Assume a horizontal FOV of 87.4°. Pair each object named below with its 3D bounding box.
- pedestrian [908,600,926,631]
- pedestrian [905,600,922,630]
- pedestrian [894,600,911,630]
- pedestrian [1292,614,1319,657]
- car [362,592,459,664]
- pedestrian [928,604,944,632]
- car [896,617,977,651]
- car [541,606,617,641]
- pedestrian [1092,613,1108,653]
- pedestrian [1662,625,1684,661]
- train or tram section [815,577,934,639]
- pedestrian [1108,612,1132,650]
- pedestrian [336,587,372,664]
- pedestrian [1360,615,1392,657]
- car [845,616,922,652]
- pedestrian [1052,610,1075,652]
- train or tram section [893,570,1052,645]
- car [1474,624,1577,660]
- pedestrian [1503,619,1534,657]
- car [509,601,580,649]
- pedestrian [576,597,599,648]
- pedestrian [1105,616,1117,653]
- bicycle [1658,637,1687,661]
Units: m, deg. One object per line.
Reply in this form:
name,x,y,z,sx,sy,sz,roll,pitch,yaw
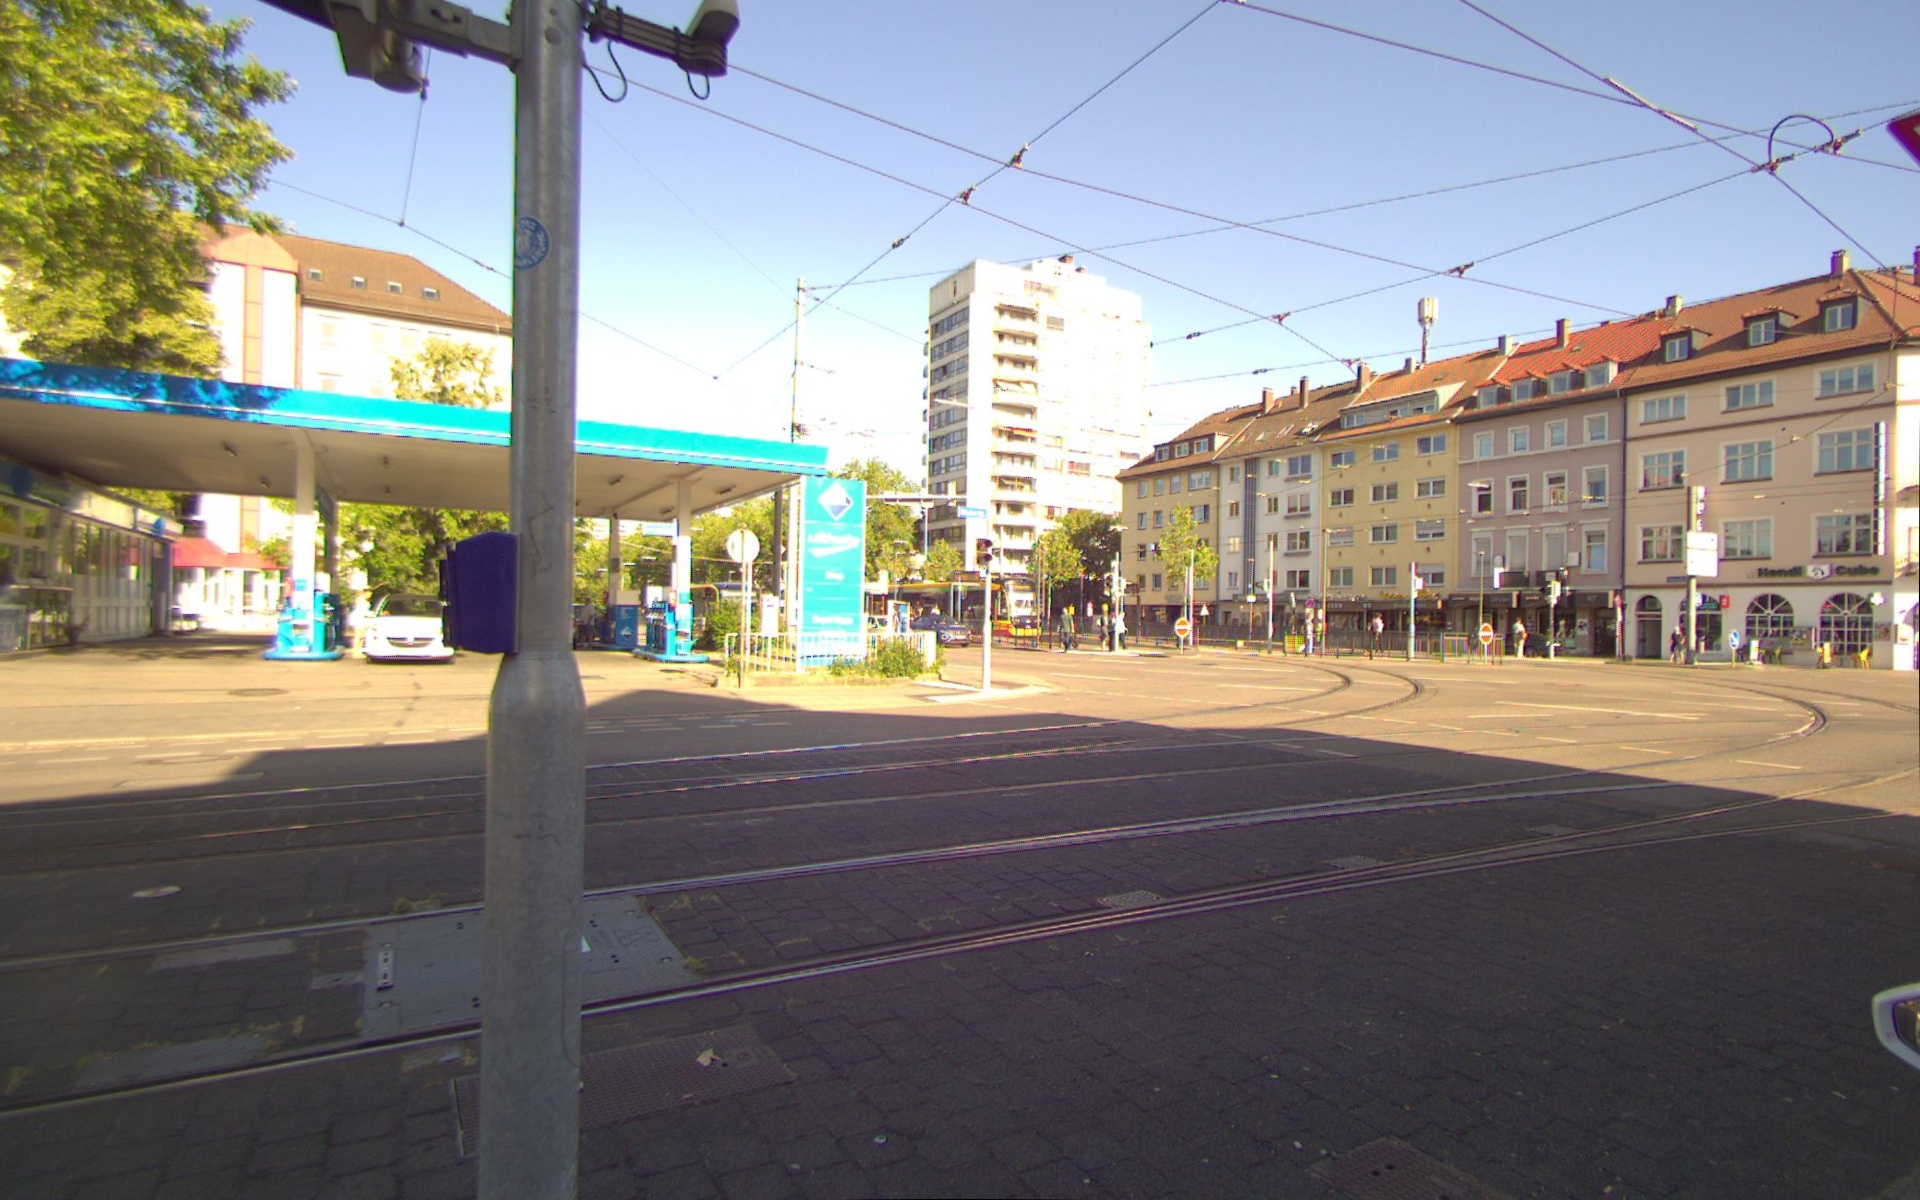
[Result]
pedestrian,-2.455,0.879,57.338,0.747,1.756,0.797,0,0,-28
pedestrian,-2.737,0.878,58.848,0.747,1.756,0.797,0,0,-28
pedestrian,-3.372,0.858,58.624,0.747,1.756,0.797,0,0,-28
pedestrian,13.358,1.373,38.826,0.817,1.598,0.552,2,0,-2
car,-12.201,0.605,22.351,1.737,1.461,3.543,1,-1,-29
pedestrian,-1.378,1.015,56.968,0.607,1.598,0.827,0,0,-27
car,-1.163,1.616,48.367,1.875,1.550,3.955,1,-2,-39
car,-16.863,1.042,44.603,1.722,1.461,3.572,1,-1,5
pedestrian,5.853,1.391,41.965,0.626,1.666,0.462,0,0,6
pedestrian,34.075,2.042,47.984,0.743,1.692,0.579,2,0,-30
train or tram section,-6.167,0.557,69.202,2.908,3.864,12.714,1,-1,-31
pedestrian,6.963,1.336,43.775,0.867,1.598,0.665,2,0,-2
pedestrian,-13.936,0.586,23.111,0.640,1.724,0.497,1,-1,-26
pedestrian,16.199,1.391,39.108,0.821,1.598,0.724,2,0,-20
car,-3.590,1.552,46.738,1.871,1.550,3.963,1,-1,-33
pedestrian,4.267,1.281,41.359,0.756,1.702,0.552,1,-1,-45
train or tram section,0.331,0.469,58.207,2.908,3.864,12.946,1,-1,-31
car,30.823,2.288,54.843,2.277,1.734,4.350,2,0,-27
pedestrian,24.461,1.667,43.993,0.821,1.598,0.847,2,0,-20
car,-13.551,0.784,32.678,1.737,1.461,3.543,1,-1,-29
pedestrian,-12.769,0.777,34.427,0.491,1.724,0.499,0,-1,33
pedestrian,6.150,1.404,40.966,0.472,1.525,0.462,0,0,6
bicycle,34.002,2.337,47.945,1.479,1.091,0.570,2,0,-30
